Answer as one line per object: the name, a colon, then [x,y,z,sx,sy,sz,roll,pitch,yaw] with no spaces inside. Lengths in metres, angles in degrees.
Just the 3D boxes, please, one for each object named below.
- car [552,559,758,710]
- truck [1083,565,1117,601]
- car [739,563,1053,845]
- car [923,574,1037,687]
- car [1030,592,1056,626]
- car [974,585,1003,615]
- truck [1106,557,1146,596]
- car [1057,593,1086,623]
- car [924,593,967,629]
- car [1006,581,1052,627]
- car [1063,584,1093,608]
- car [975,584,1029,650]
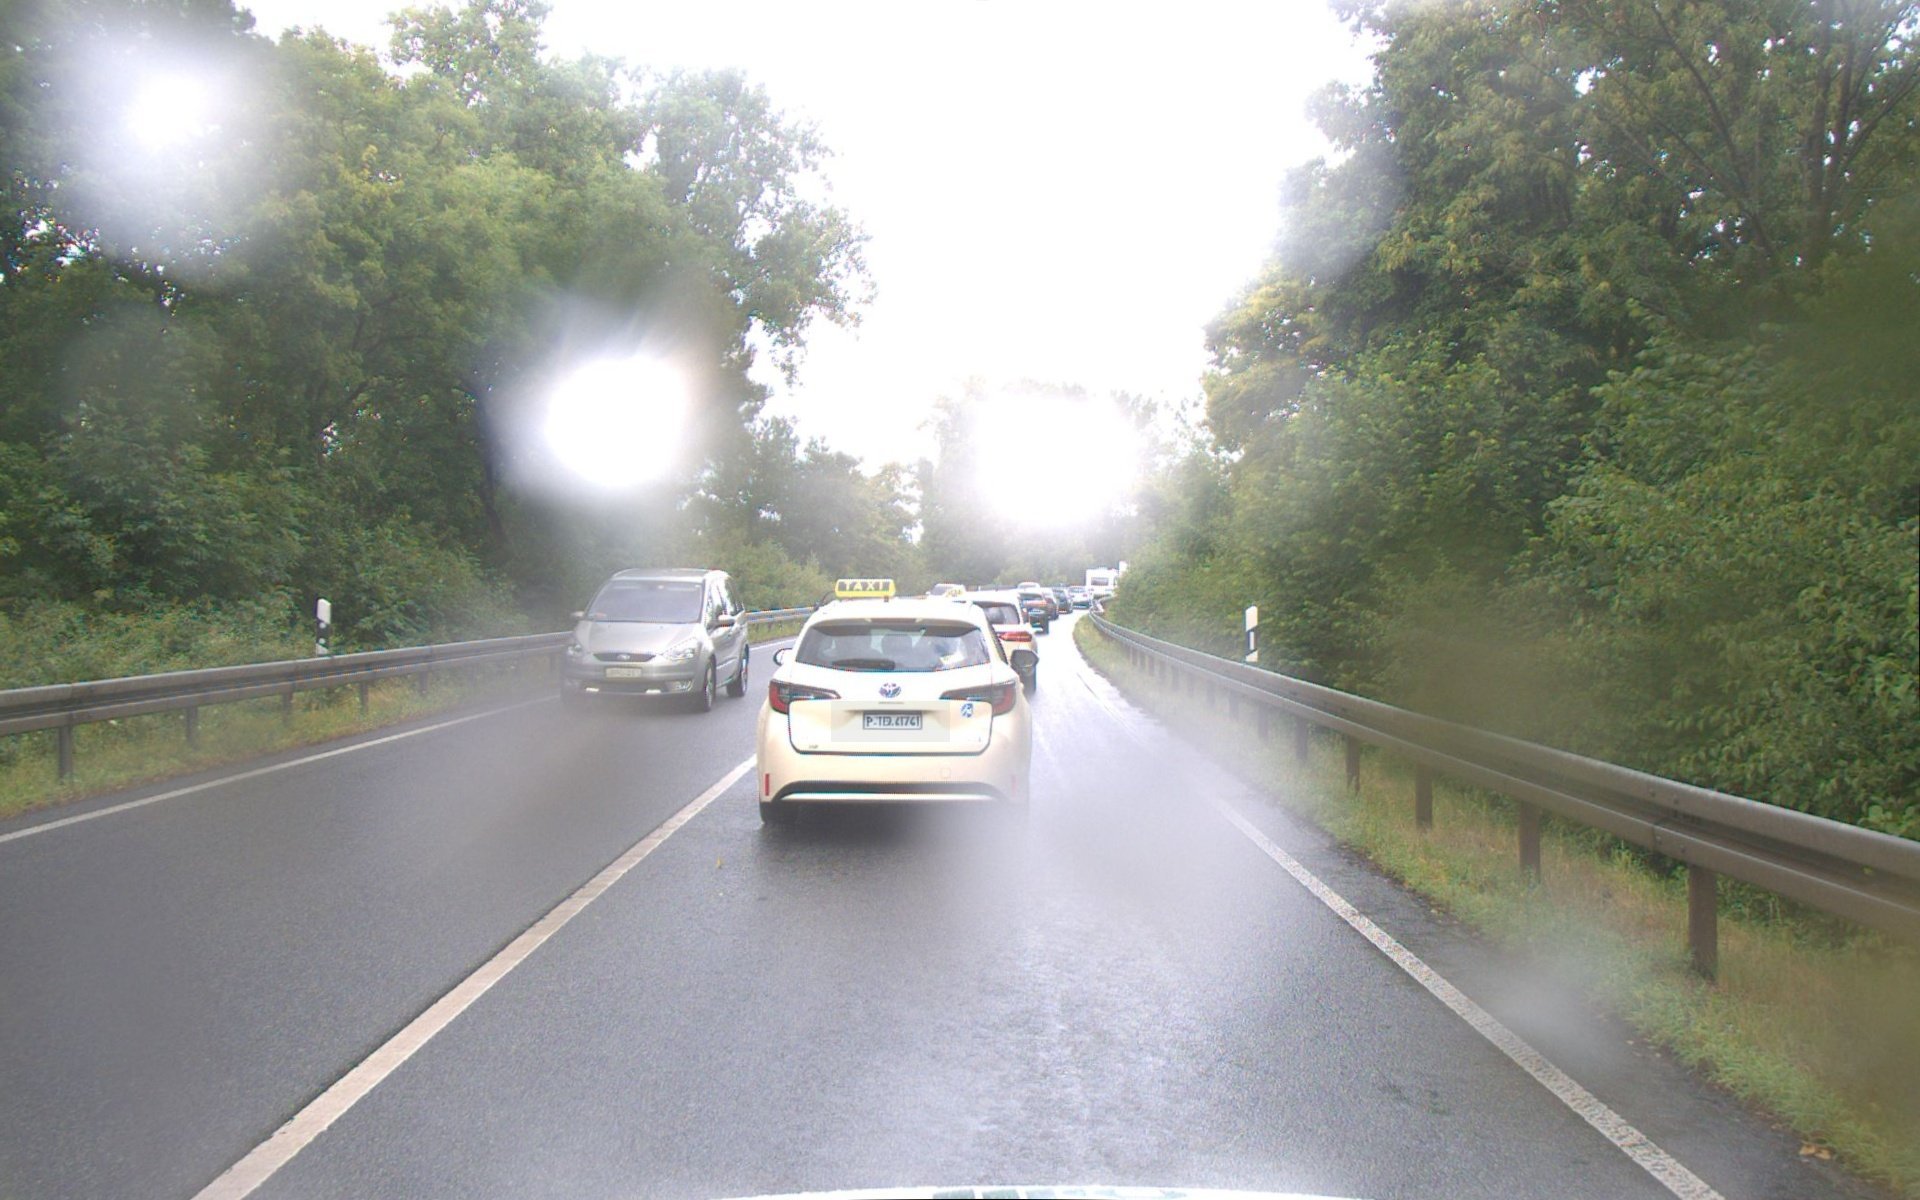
car: [-3.805,0.422,21.430,1.778,1.715,4.622,1,0,0]
truck: [11.646,-1.363,137.585,2.496,2.760,7.537,1,-1,3]
car: [-0.361,0.621,11.683,1.796,1.608,4.156,1,-1,0]
car: [0.361,0.457,25.993,1.633,1.608,3.893,1,-1,2]
car: [3.931,0.424,78.493,1.143,1.574,2.605,1,-1,2]
car: [2.044,0.008,117.752,1.952,2.049,4.001,1,-1,2]
truck: [16.888,-2.338,168.002,3.041,3.745,7.005,1,-1,14]
car: [6.256,0.470,93.389,1.582,1.641,3.623,1,-1,3]
car: [-0.618,0.480,73.751,1.769,1.559,4.207,0,0,1]
car: [2.439,0.163,58.732,1.577,1.574,3.814,0,-1,2]
car: [8.036,-0.283,112.594,1.732,1.574,3.817,1,-1,8]
car: [1.020,0.427,41.321,1.274,1.574,3.260,1,-1,1]
